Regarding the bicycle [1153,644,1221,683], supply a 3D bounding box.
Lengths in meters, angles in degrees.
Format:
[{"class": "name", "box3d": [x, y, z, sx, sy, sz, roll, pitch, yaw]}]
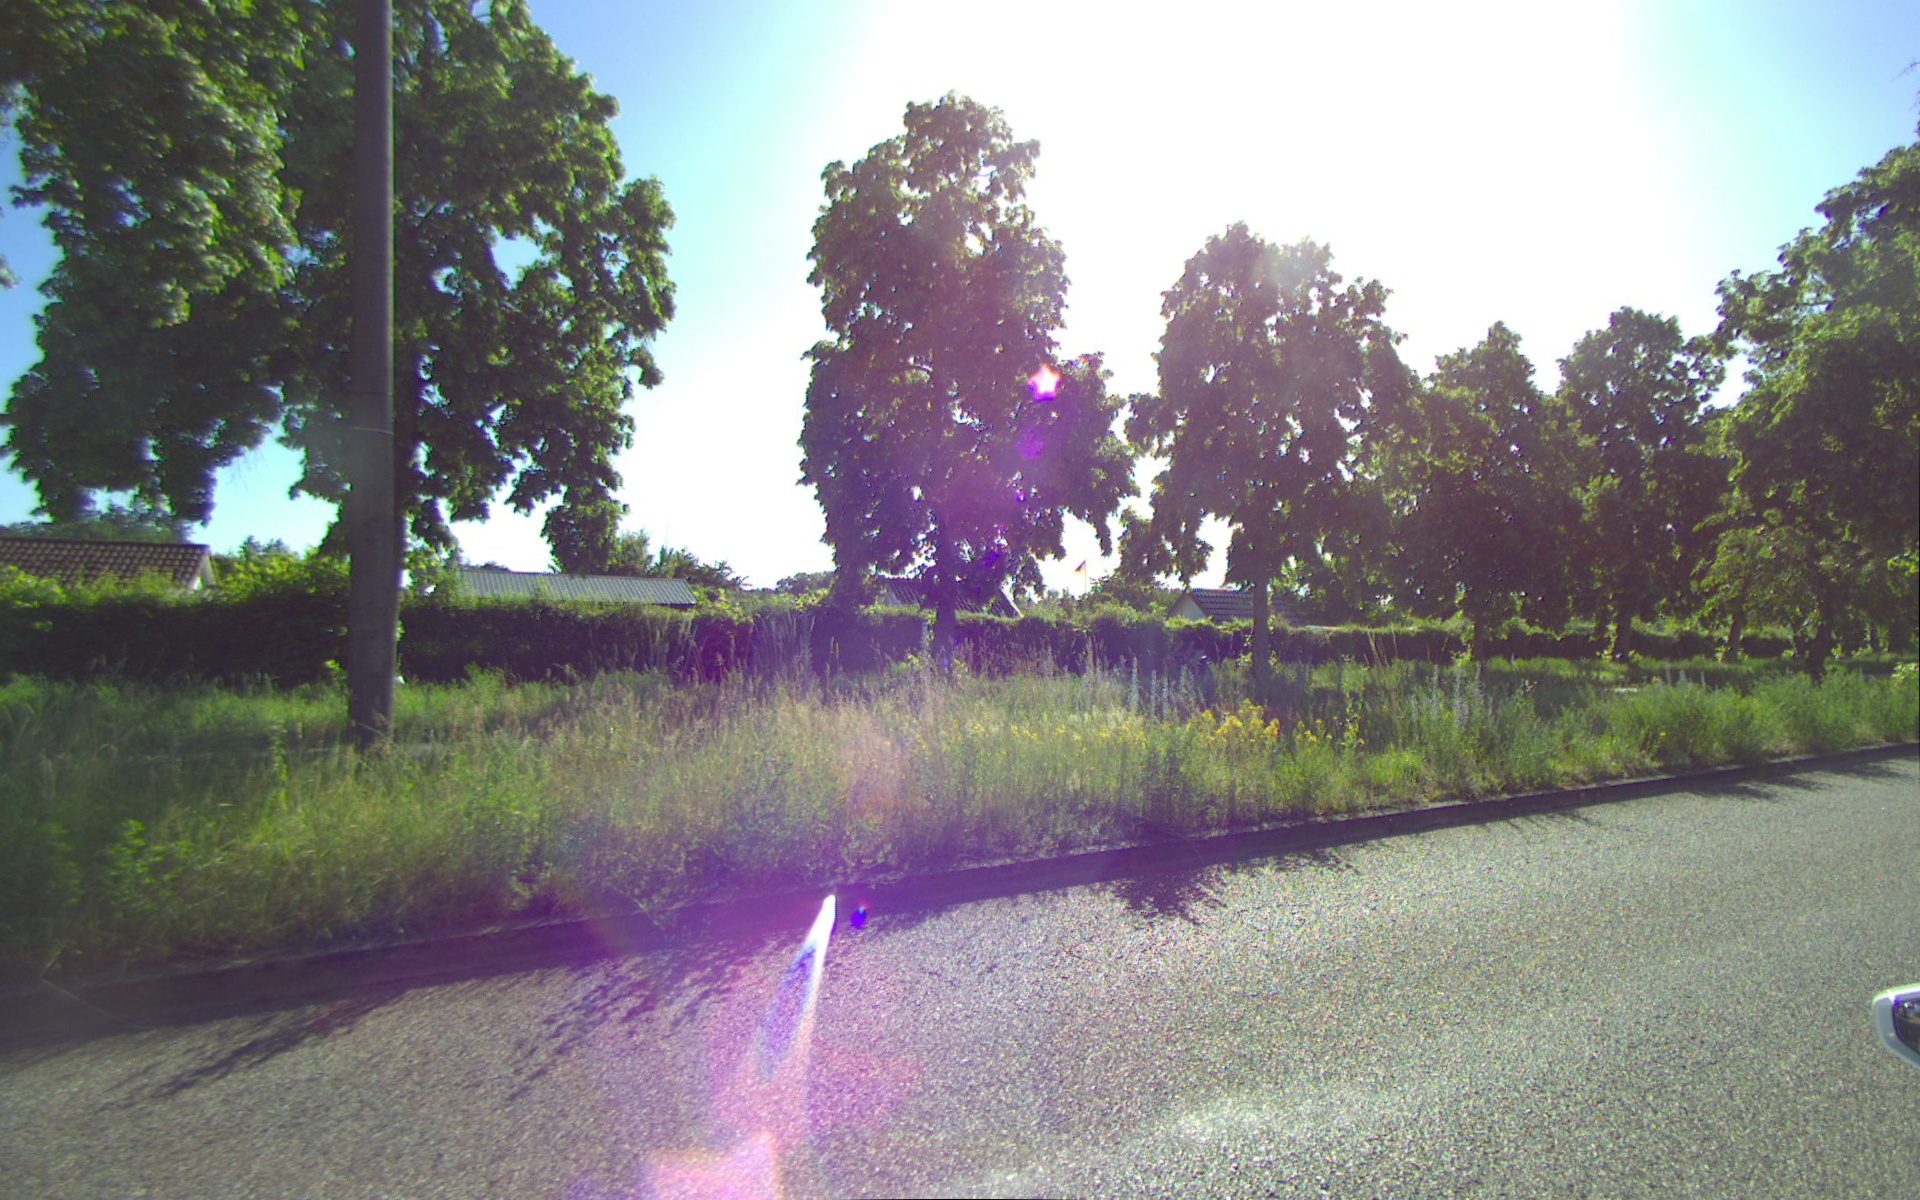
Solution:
[{"class": "bicycle", "box3d": [6.095, 1.689, 26.909, 1.820, 1.009, 0.686, 1, -2, -31]}]

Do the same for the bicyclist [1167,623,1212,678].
[{"class": "bicyclist", "box3d": [6.166, 1.336, 26.969, 0.989, 1.439, 0.686, 1, -2, -31]}]
